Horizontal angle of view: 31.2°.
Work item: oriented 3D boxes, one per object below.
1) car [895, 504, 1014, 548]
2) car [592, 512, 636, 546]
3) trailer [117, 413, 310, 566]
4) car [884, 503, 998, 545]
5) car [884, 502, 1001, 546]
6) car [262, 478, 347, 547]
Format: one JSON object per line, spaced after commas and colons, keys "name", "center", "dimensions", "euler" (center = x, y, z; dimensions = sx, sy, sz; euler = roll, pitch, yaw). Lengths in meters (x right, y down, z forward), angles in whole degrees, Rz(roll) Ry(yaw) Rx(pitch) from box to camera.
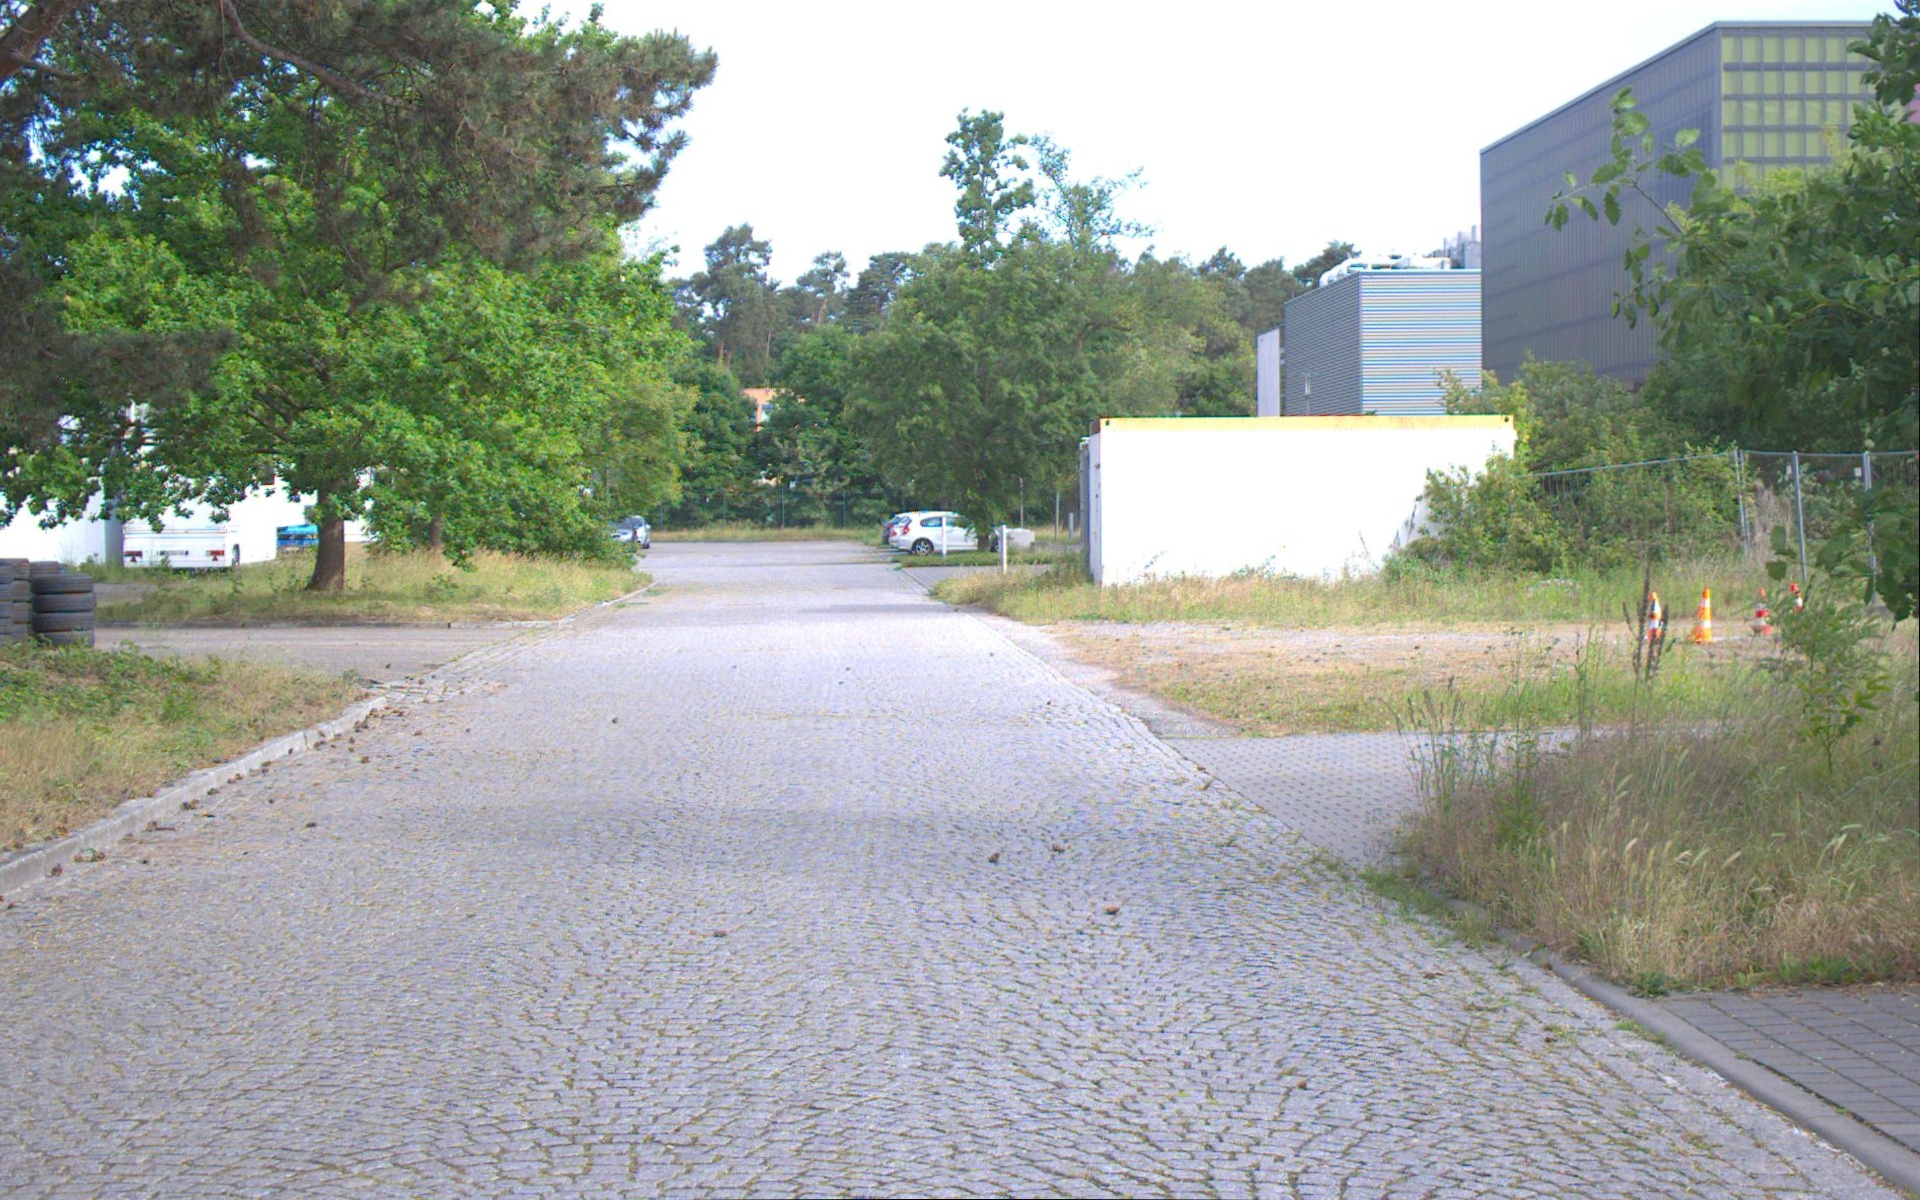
{"name": "car", "center": [-0.210, -2.513, 116.919], "dimensions": [3.986, 1.450, 2.000], "euler": [0, 1, -2]}
{"name": "car", "center": [-14.107, -2.896, 140.359], "dimensions": [1.748, 1.359, 4.001], "euler": [-1, 2, -5]}
{"name": "trailer", "center": [-19.160, -2.826, 88.946], "dimensions": [2.656, 3.693, 10.722], "euler": [-1, 1, 0]}
{"name": "car", "center": [-0.699, -2.707, 122.110], "dimensions": [3.986, 1.450, 1.770], "euler": [-1, 1, -2]}
{"name": "car", "center": [-0.611, -2.631, 119.072], "dimensions": [3.986, 1.450, 1.697], "euler": [-1, 1, -2]}
{"name": "car", "center": [-24.439, -3.261, 128.334], "dimensions": [1.993, 2.514, 5.618], "euler": [-1, 1, 1]}
